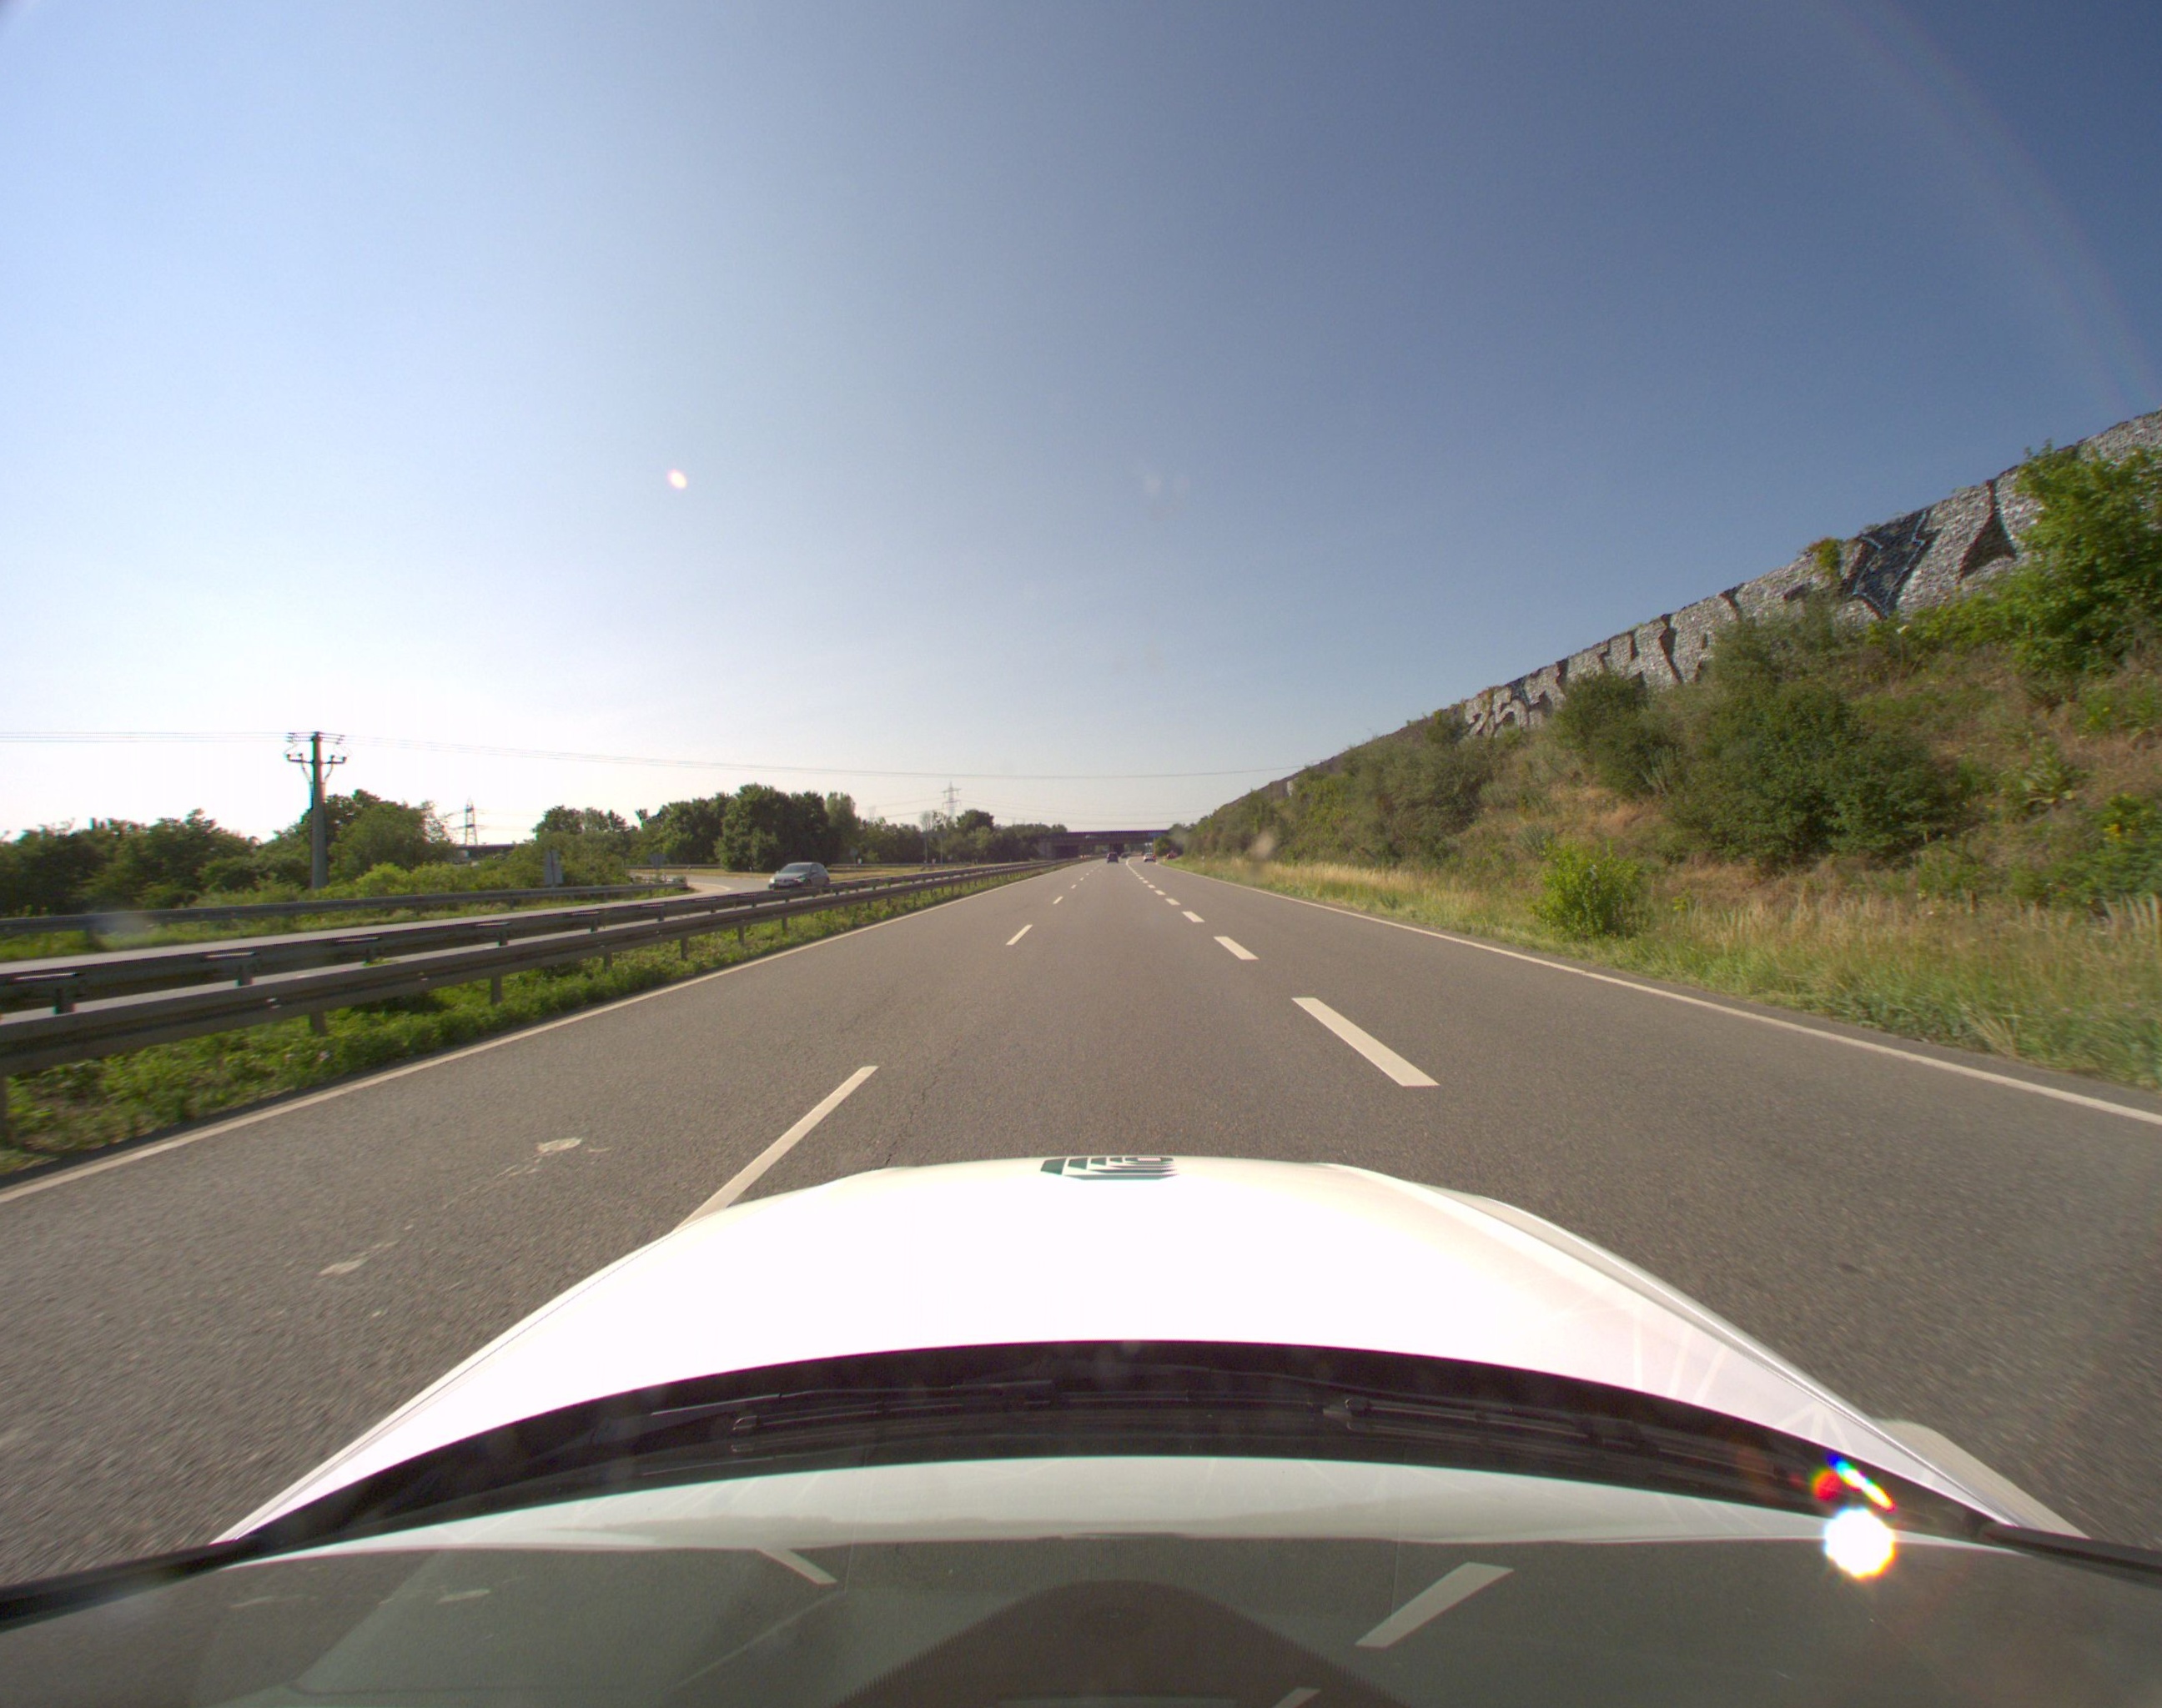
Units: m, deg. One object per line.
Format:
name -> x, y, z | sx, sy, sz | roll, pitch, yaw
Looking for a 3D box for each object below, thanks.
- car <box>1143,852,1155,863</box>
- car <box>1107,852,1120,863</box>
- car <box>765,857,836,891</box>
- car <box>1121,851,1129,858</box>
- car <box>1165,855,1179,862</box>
car -> 11.219, 0.565, 133.585 | 1.786, 1.665, 4.008 | 1, 1, 7
car -> 5.161, 0.523, 130.365 | 1.841, 1.644, 4.005 | -1, 0, 5
car -> -13.552, 0.927, 39.597 | 1.694, 1.485, 4.622 | 1, 0, 1
car -> 11.611, 0.175, 215.921 | 1.841, 1.644, 4.005 | -1, 0, 5
car -> 18.351, 0.827, 164.251 | 1.886, 1.297, 4.019 | 1, 1, 19
